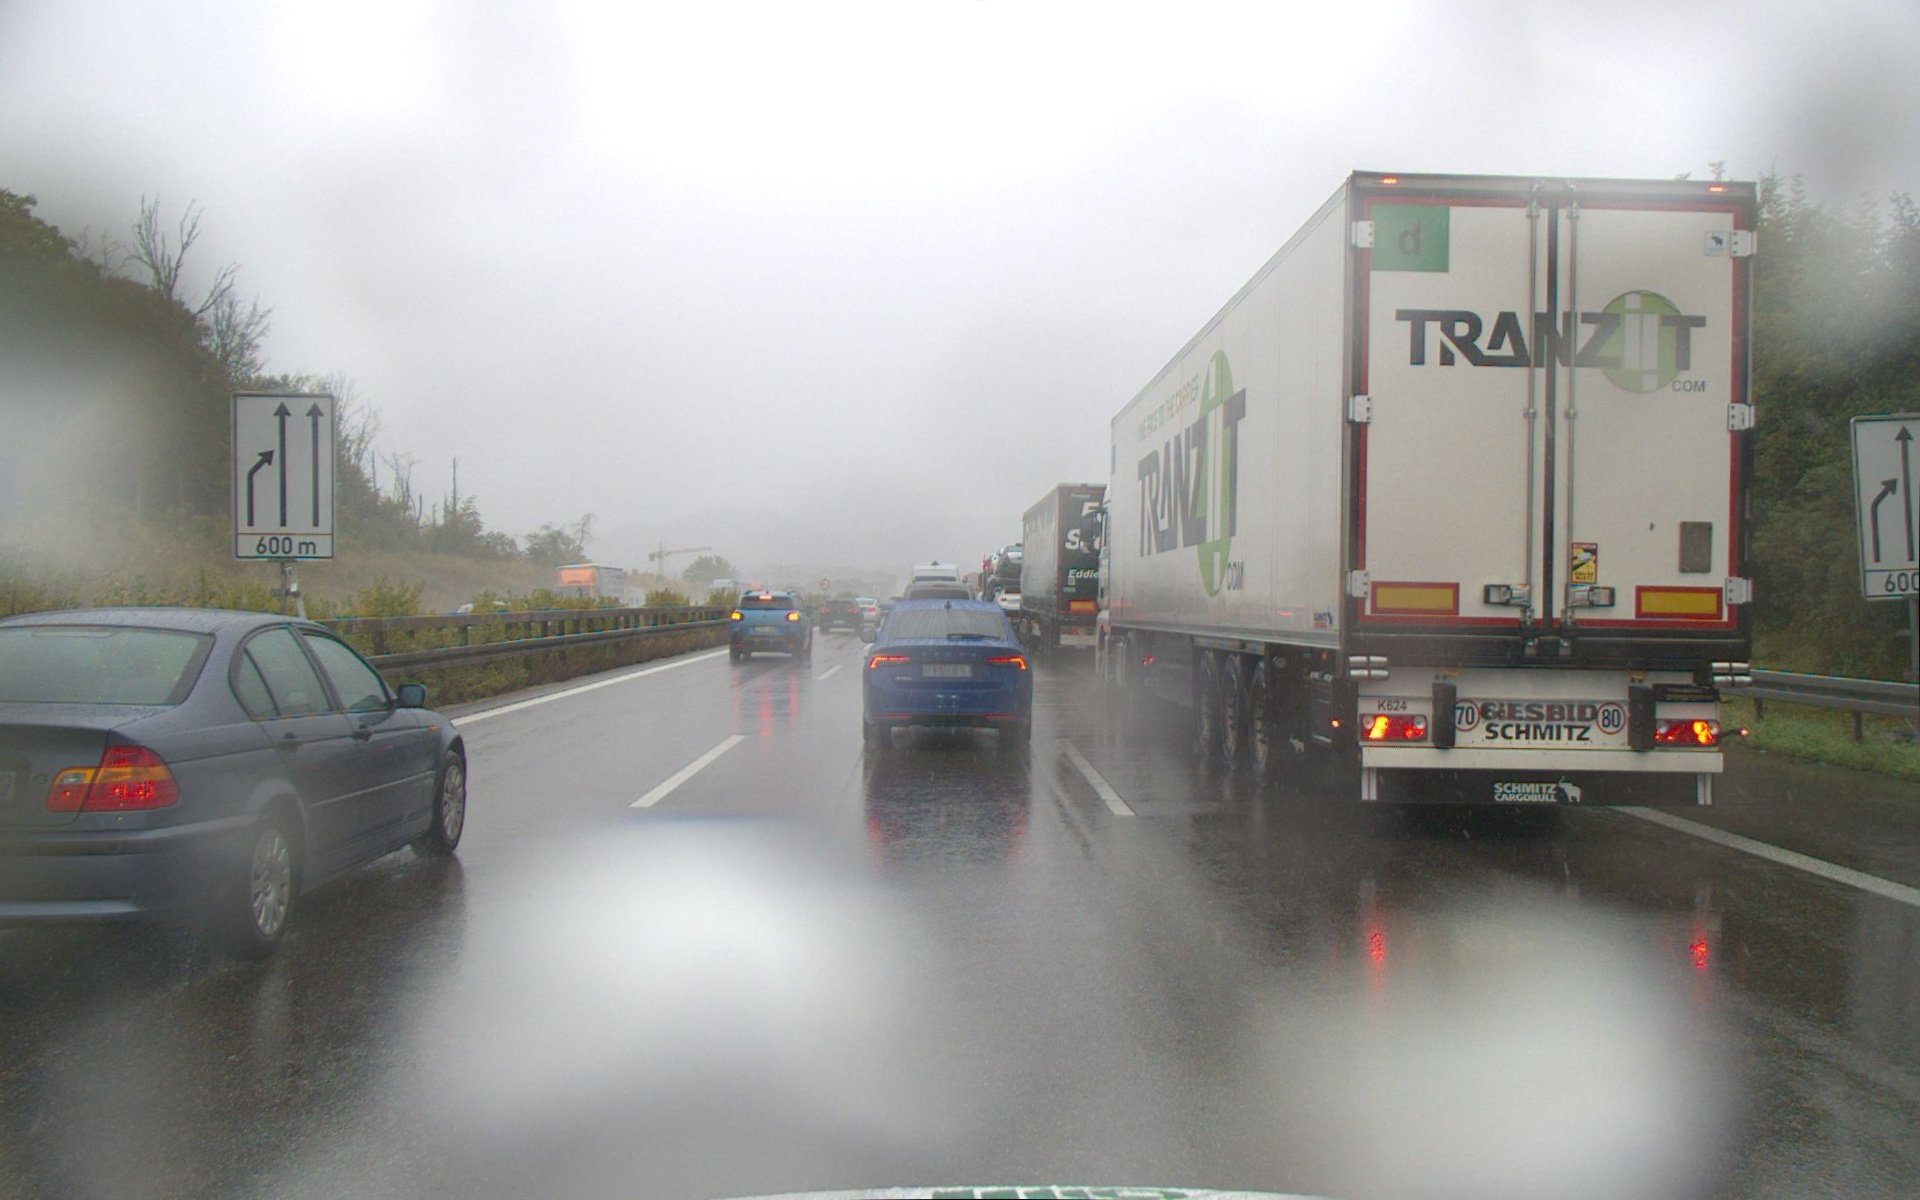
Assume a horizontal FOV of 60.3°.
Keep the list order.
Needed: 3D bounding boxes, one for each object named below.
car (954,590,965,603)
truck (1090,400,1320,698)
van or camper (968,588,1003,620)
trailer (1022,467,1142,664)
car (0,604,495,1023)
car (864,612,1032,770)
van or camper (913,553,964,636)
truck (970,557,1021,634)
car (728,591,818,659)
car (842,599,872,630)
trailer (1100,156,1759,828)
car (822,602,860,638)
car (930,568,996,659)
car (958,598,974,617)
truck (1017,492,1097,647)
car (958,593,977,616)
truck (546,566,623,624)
[{"bbox_3d":[-0.017,-0.477,221.345,1.419,1.815,3.408,1,0,-1],"label":"car"},{"bbox_3d":[3.402,-0.687,24.096,2.577,3.894,4.790,0,0,-1],"label":"truck"},{"bbox_3d":[1.342,0.180,88.833,1.736,1.653,4.483,0,1,-1],"label":"van or camper"},{"bbox_3d":[2.840,-0.794,41.449,2.005,4.249,11.446,0,0,-1],"label":"trailer"},{"bbox_3d":[-3.621,0.748,7.855,1.683,1.424,4.229,0,0,-1],"label":"car"},{"bbox_3d":[-0.112,0.883,17.828,1.602,1.470,4.000,0,0,0],"label":"car"},{"bbox_3d":[-0.778,-0.203,59.316,1.761,2.855,4.767,0,0,-1],"label":"van or camper"},{"bbox_3d":[1.608,-0.269,78.357,1.953,3.481,8.029,0,1,-2],"label":"truck"},{"bbox_3d":[-4.438,0.554,39.783,1.686,1.550,4.000,0,0,0],"label":"car"},{"bbox_3d":[-5.413,0.736,87.453,1.410,1.560,3.321,0,0,-1],"label":"car"},{"bbox_3d":[3.489,-0.717,17.390,2.577,4.083,14.627,0,0,-1],"label":"trailer"},{"bbox_3d":[-5.052,0.838,70.677,1.410,1.445,3.321,0,0,-1],"label":"car"},{"bbox_3d":[0.036,0.255,34.388,1.309,1.811,3.321,0,0,-1],"label":"car"},{"bbox_3d":[0.502,0.625,141.554,1.223,1.538,3.107,-1,1,-1],"label":"car"},{"bbox_3d":[2.759,-0.854,47.661,2.005,4.266,3.999,0,0,-1],"label":"truck"},{"bbox_3d":[0.589,0.348,129.751,1.419,1.815,3.408,1,0,-1],"label":"car"},{"bbox_3d":[-22.571,-0.361,99.883,2.867,3.339,9.252,0,1,-2],"label":"truck"}]
